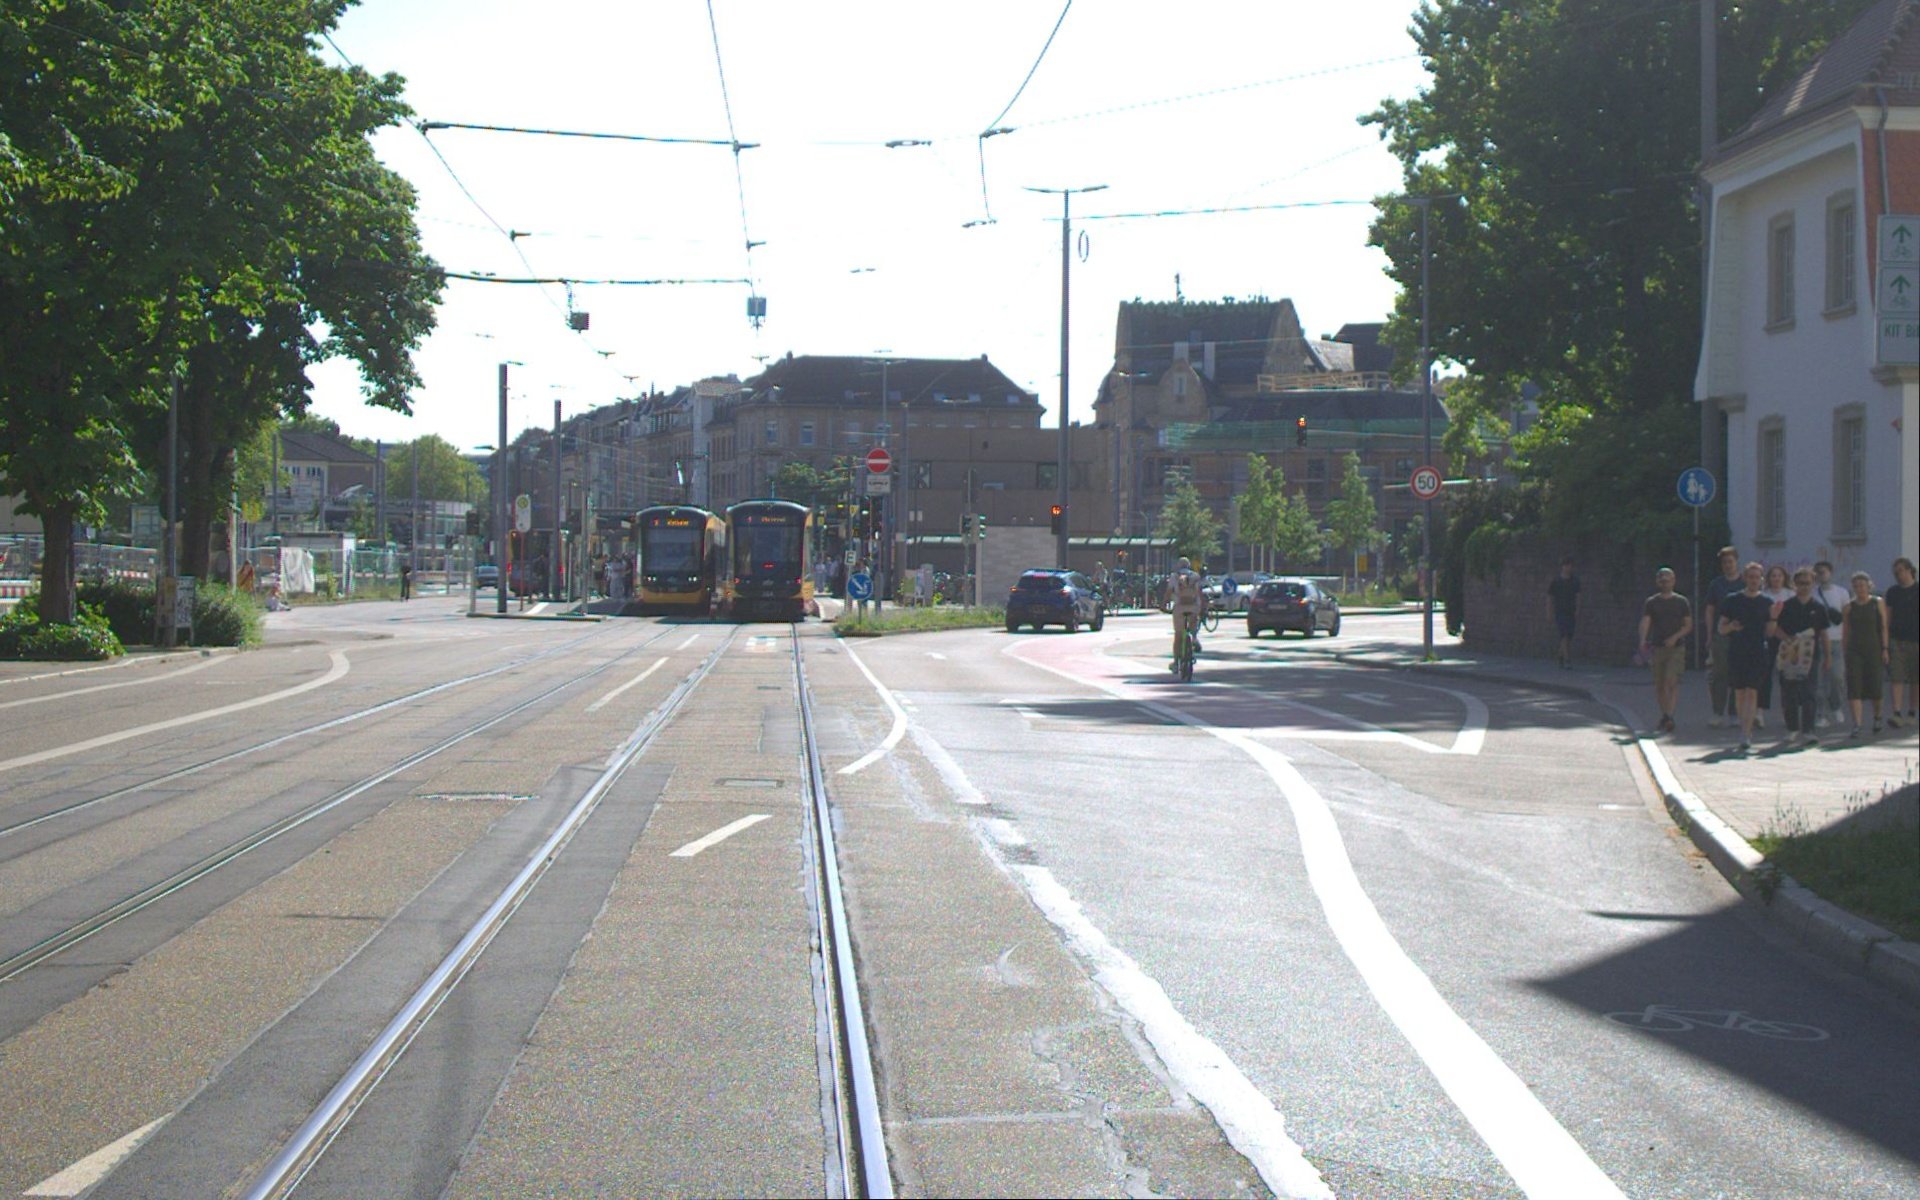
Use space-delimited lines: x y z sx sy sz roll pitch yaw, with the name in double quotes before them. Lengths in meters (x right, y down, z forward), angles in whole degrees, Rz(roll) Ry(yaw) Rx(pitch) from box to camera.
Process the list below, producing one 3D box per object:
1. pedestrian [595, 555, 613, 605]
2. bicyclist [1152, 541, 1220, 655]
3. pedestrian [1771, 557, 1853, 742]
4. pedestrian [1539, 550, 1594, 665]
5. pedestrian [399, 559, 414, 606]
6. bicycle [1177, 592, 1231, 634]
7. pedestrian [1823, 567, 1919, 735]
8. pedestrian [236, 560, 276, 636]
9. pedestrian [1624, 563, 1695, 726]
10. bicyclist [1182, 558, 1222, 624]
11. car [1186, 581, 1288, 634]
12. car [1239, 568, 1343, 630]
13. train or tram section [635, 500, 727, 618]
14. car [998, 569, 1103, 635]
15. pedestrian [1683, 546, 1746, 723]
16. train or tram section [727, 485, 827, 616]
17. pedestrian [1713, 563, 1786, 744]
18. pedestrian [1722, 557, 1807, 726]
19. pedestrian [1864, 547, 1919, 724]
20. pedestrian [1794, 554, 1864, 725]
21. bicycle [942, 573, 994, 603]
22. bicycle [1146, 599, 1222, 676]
"pedestrian" -13.026 -0.719 125.829 0.626 1.821 0.662 1 0 -4
"bicyclist" 3.387 -0.033 51.486 0.705 1.669 1.100 3 1 17
"pedestrian" 8.371 0.477 33.815 0.647 1.757 0.955 -4 0 12
"pedestrian" 10.118 0.117 57.382 0.637 1.897 1.134 -1 0 -1
"pedestrian" -23.717 -0.732 147.272 0.525 2.007 0.522 1 0 2
"bicycle" 6.484 0.331 91.310 0.705 1.051 2.311 3 2 22
"pedestrian" 9.131 0.502 34.394 0.829 1.599 0.893 -4 0 12
"pedestrian" -15.705 -0.050 76.721 0.636 1.691 0.819 -1 0 -29
"pedestrian" 7.651 0.475 37.610 0.606 1.741 0.717 -3 0 5
"bicyclist" 6.417 -0.237 91.060 0.705 1.694 0.986 3 1 22
"car" 8.950 0.249 110.808 1.704 1.638 3.705 2 1 33
"car" 8.668 -0.024 89.783 1.791 1.506 3.709 2 1 20
"train or tram section" -9.198 -1.391 114.461 2.741 3.639 13.787 1 1 -4
"car" 2.346 0.039 88.217 1.790 1.599 3.710 2 1 16
"pedestrian" 8.233 0.367 37.545 0.518 1.896 0.611 -3 0 5
"train or tram section" -5.573 -1.497 103.544 2.741 3.639 13.787 1 1 -4
"pedestrian" 7.734 0.515 33.705 0.495 1.722 0.816 -4 0 6
"pedestrian" 8.670 0.444 37.044 0.529 1.768 0.734 -4 0 38
"pedestrian" 9.832 0.359 35.721 0.657 1.796 0.731 -3 0 5
"pedestrian" 9.272 0.415 36.702 0.610 1.768 0.652 -4 0 13
"bicycle" 0.313 -0.452 131.270 1.933 1.099 0.599 1 1 -5
"bicycle" 3.362 0.548 51.495 0.705 1.101 1.716 3 1 17
